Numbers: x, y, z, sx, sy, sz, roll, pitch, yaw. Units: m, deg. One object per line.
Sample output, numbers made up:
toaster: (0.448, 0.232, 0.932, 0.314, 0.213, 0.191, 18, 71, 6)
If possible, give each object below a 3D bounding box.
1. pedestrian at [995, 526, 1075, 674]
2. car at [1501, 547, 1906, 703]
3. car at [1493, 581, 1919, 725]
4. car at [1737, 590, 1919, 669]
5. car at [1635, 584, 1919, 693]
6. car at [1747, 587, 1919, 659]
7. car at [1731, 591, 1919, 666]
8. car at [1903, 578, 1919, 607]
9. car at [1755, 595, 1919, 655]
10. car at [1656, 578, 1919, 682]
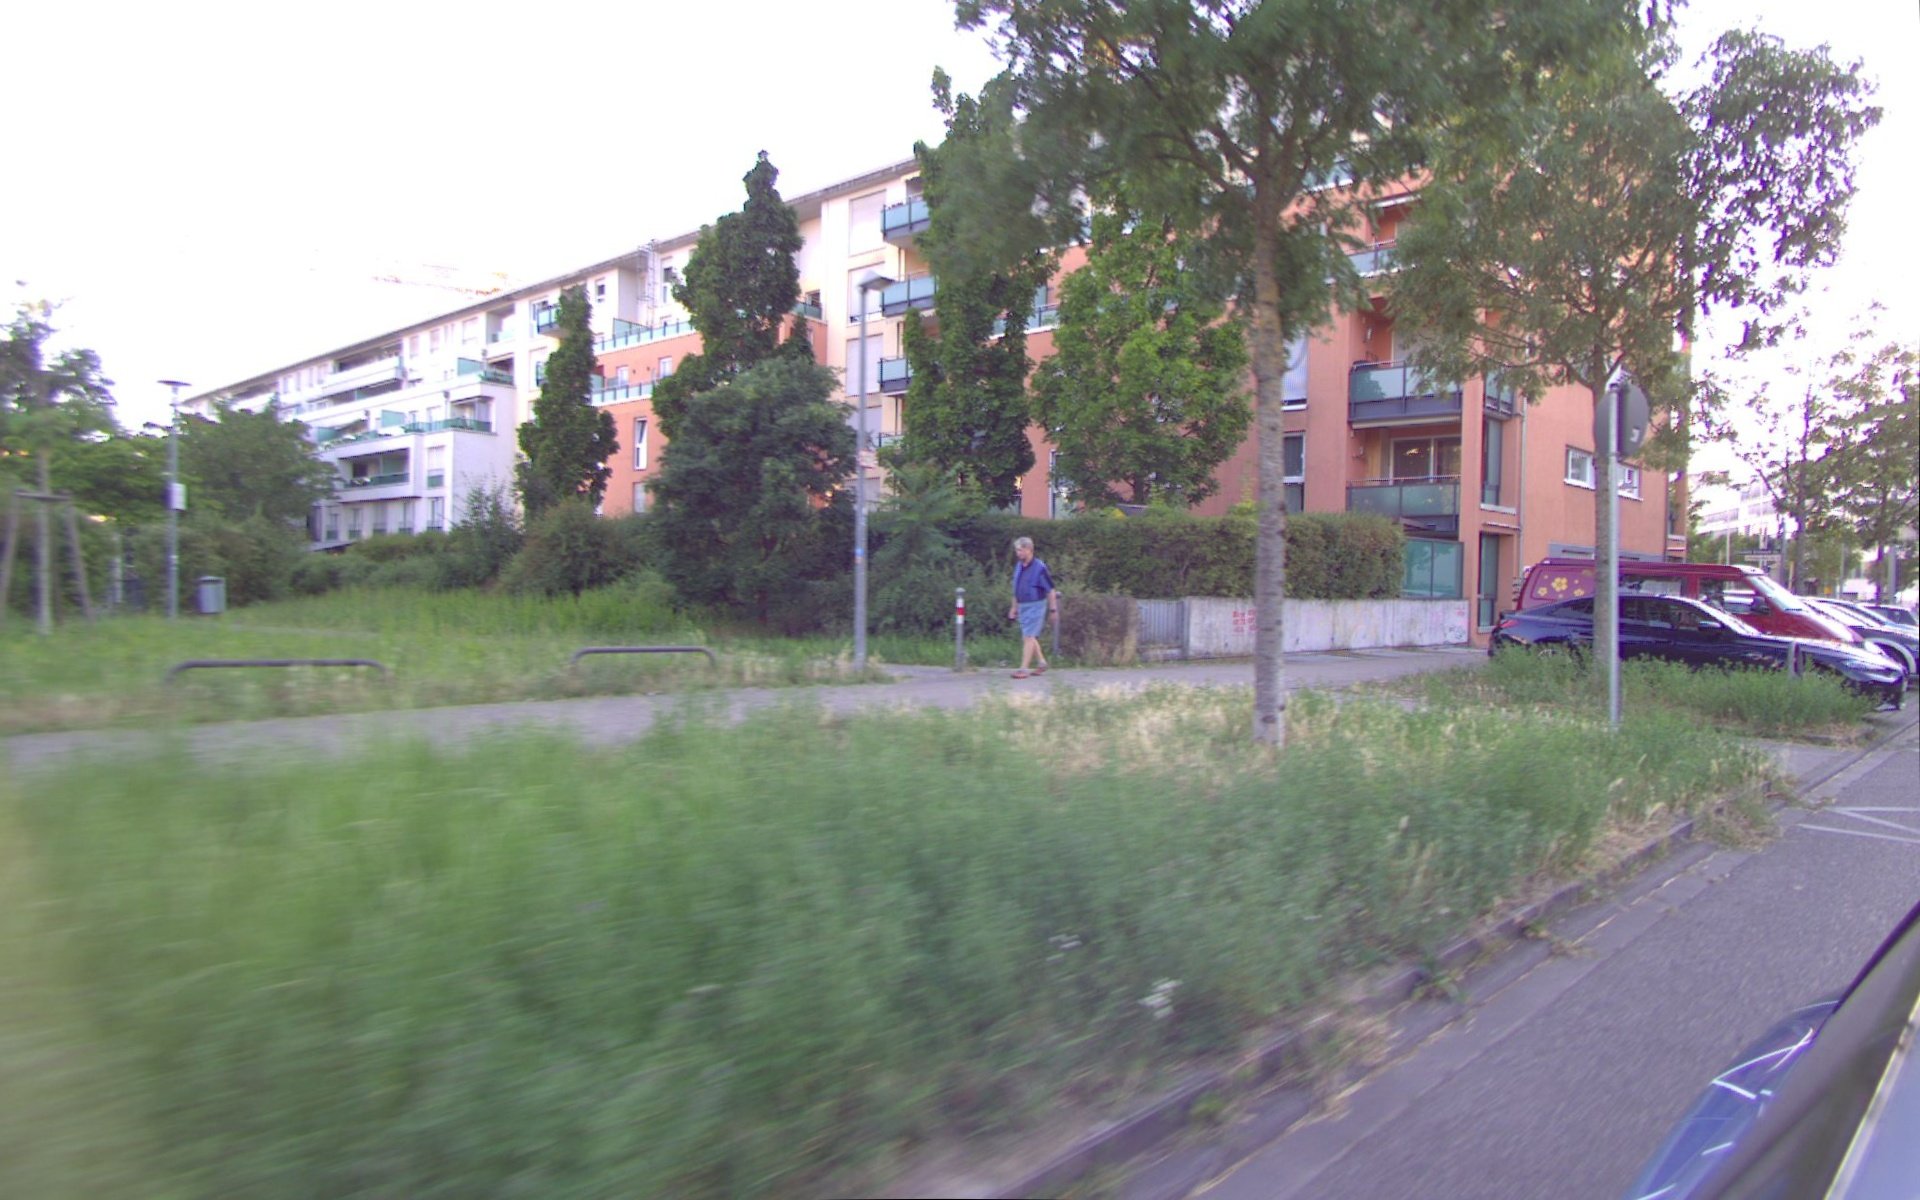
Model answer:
pedestrian: (0.937, -0.009, 12.618, 0.687, 1.765, 0.670, 1, 1, -41)
car: (11.786, 0.265, 16.390, 1.981, 2.143, 4.931, 0, 1, -39)
car: (10.175, 0.575, 13.944, 1.779, 1.576, 4.678, 0, 1, -41)
car: (19.532, 0.608, 22.152, 1.512, 1.513, 3.781, -2, 3, -41)
car: (13.889, 0.575, 17.341, 1.587, 1.483, 3.534, 0, 3, -40)
car: (22.951, 0.557, 25.973, 1.643, 1.588, 4.059, 1, 3, -40)
car: (21.119, 0.634, 24.295, 1.591, 1.588, 3.884, 1, 1, -40)
car: (99.374, -0.710, 103.720, 1.984, 2.911, 6.204, 3, 2, 24)
car: (24.460, 0.643, 27.959, 1.587, 1.492, 3.751, 0, 1, -45)
car: (15.777, 0.487, 18.881, 1.761, 1.588, 4.226, 0, 3, -40)
